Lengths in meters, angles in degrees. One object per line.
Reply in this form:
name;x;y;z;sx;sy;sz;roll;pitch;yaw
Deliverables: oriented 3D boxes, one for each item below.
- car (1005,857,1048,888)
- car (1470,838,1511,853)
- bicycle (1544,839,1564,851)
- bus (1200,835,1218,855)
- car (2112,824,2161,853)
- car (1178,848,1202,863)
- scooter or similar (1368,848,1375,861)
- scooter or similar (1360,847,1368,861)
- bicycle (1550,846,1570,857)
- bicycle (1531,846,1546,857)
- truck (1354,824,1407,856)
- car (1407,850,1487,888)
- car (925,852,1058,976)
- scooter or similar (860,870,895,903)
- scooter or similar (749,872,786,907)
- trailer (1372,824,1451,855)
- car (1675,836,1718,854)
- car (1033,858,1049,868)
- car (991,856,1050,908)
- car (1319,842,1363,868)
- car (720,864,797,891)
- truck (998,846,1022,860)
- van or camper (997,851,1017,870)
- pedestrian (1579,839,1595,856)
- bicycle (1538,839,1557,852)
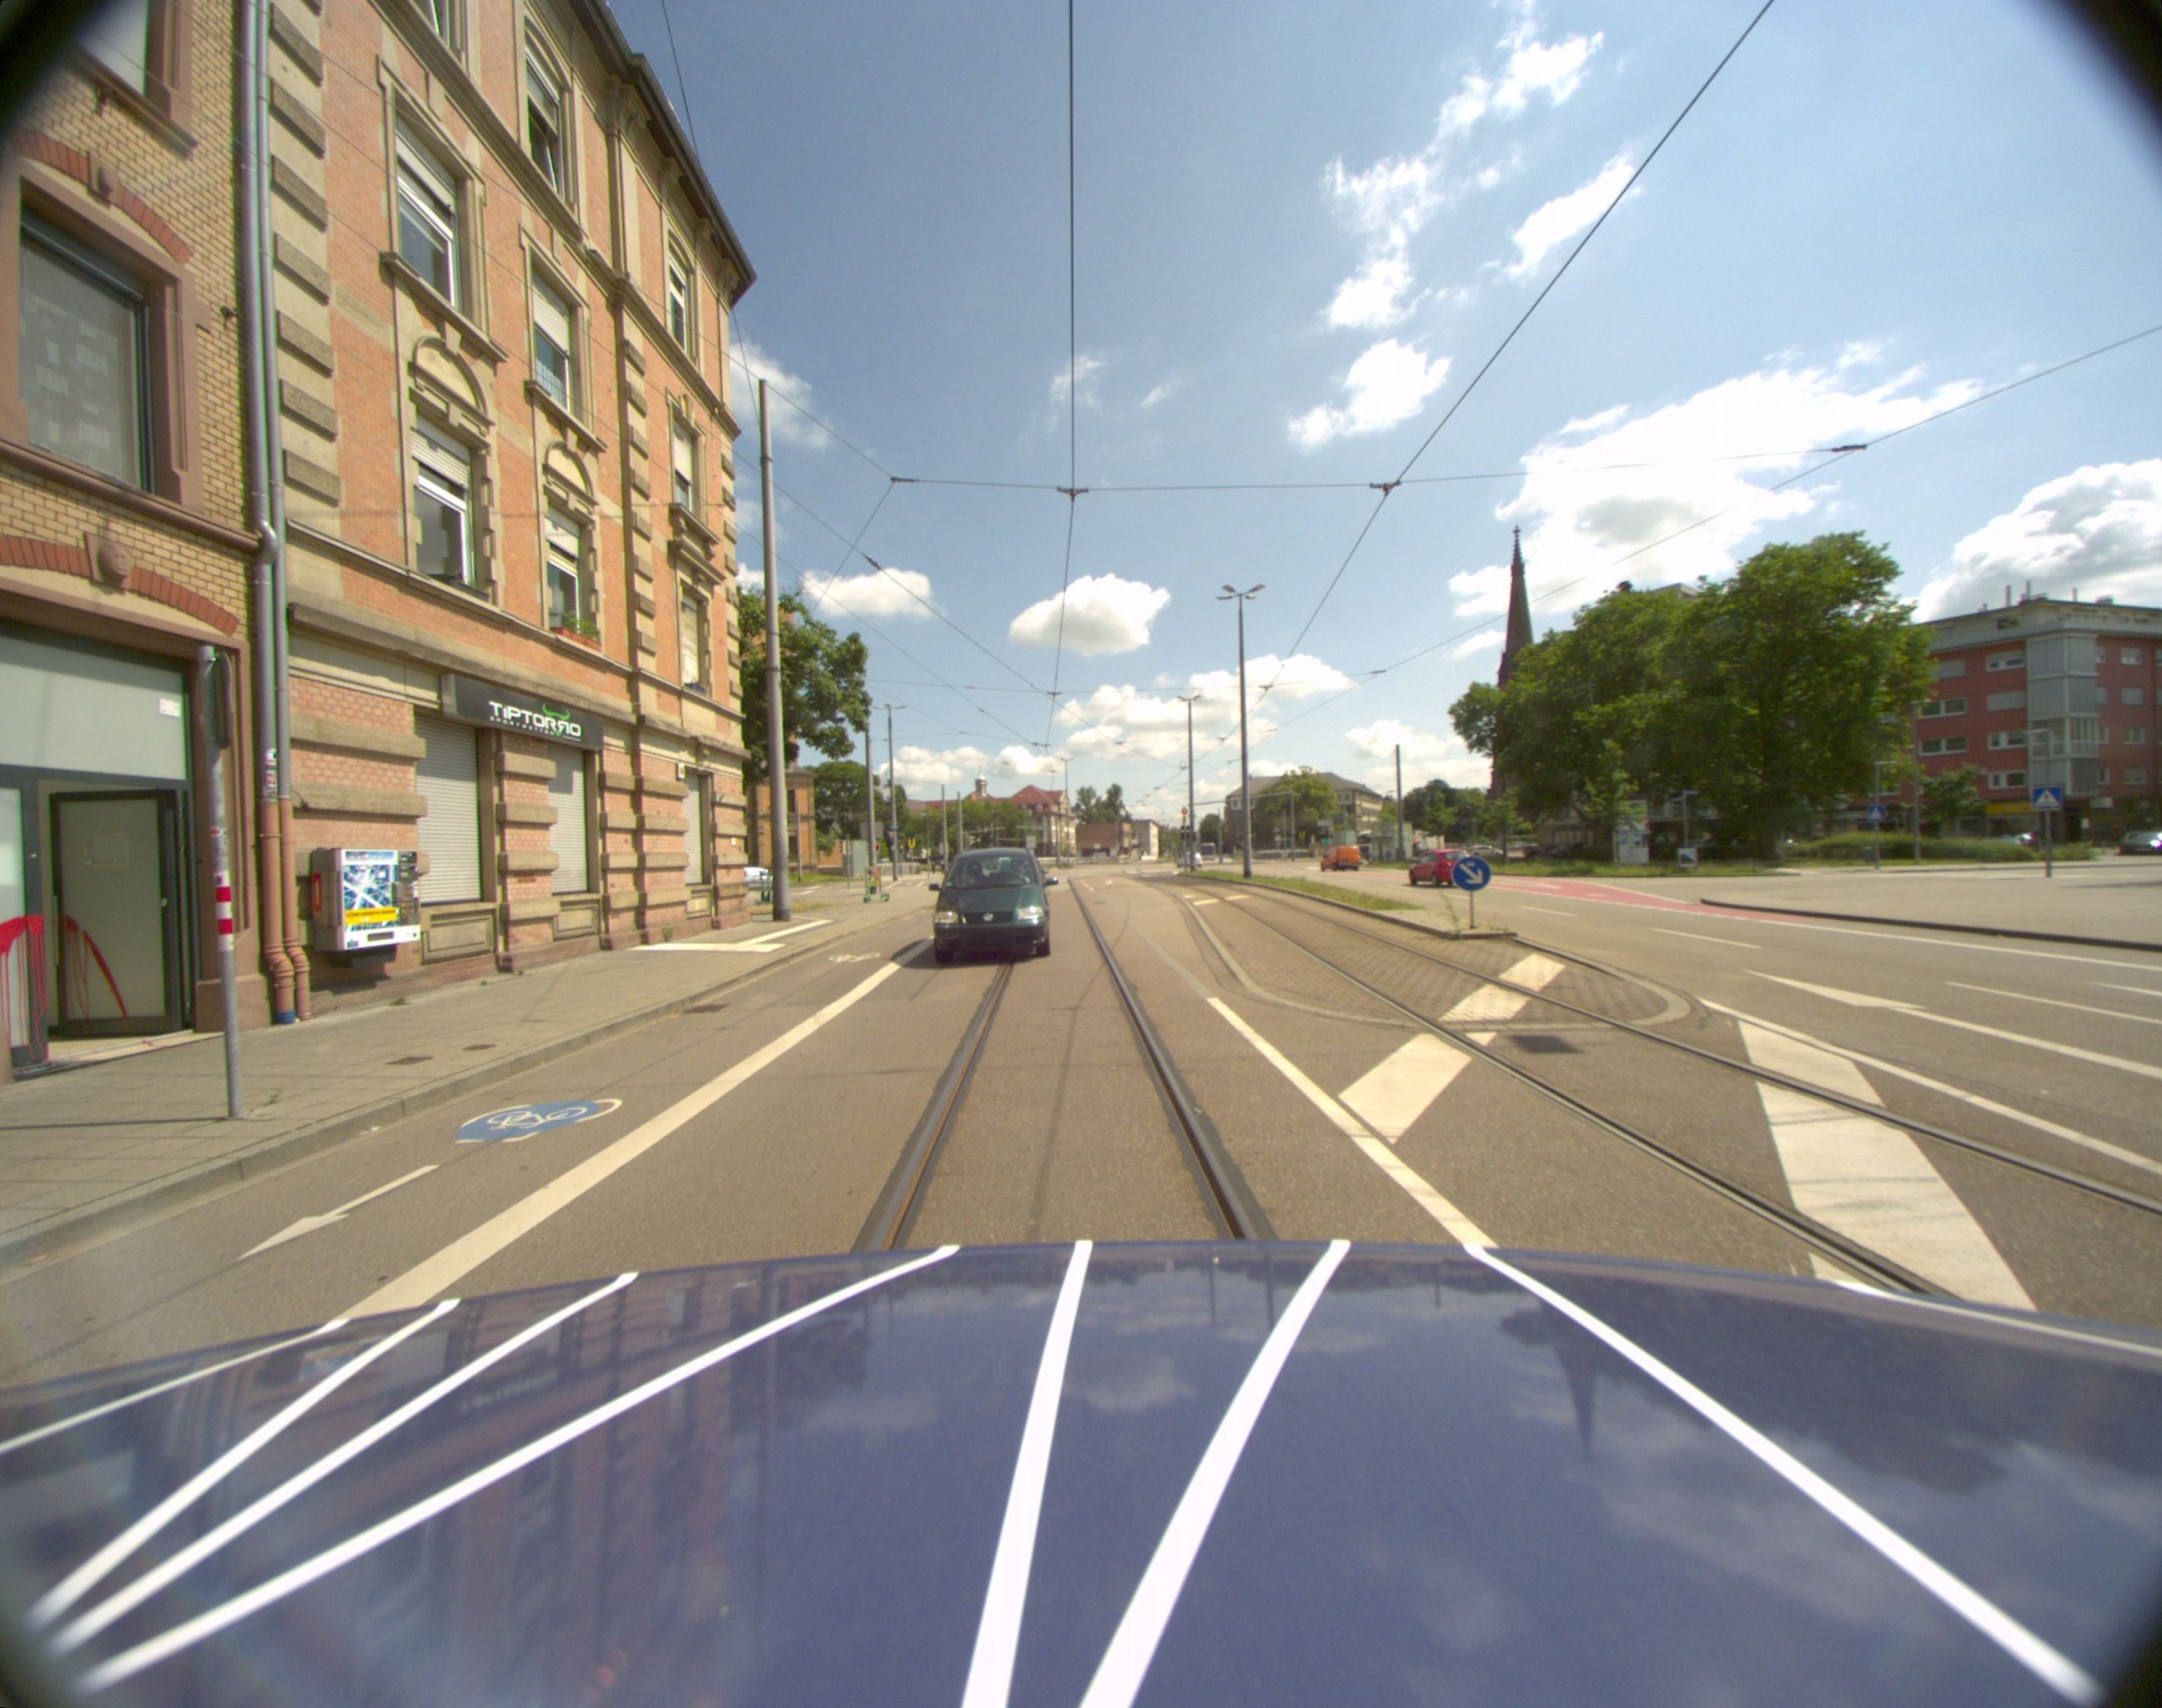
car;-2.924;0.919;39.946;1.874;1.477;4.423;-2;0;-8
car;49.798;-1.010;92.423;4.164;1.633;1.631;-2;0;17
bicycle;48.079;-0.930;77.225;0.494;1.161;1.598;-2;0;-32
bus;22.575;-1.542;134.169;2.948;3.427;7.953;-2;0;10
car;66.309;-0.991;47.522;4.007;1.696;1.995;-2;0;-34
car;11.996;0.130;83.678;1.771;1.594;4.491;-1;0;-4
scooter or similar;26.033;0.019;68.139;0.416;1.118;0.556;-2;0;-2
scooter or similar;25.320;0.022;67.903;0.462;1.193;0.549;-2;0;-2
bicycle;46.530;-0.255;73.824;0.494;1.060;1.598;-2;0;-32
bicycle;50.595;-0.255;83.986;0.460;1.139;1.270;-2;0;-36
truck;40.283;-1.932;102.125;6.889;4.095;2.956;-2;1;-32
car;14.444;0.556;30.222;1.705;1.420;3.904;0;0;7
car;-1.336;0.854;12.894;1.819;1.707;4.084;-2;0;-1
scooter or similar;-7.663;1.211;28.650;0.949;1.173;1.086;-1;1;5
scooter or similar;-11.714;1.315;28.439;0.950;1.196;1.389;-1;1;-8
trailer;46.112;-2.056;105.791;13.441;4.052;2.942;-2;1;-32
car;53.946;-0.796;66.593;3.938;1.502;1.875;-1;0;-34
car;-5.909;1.317;112.551;1.673;1.368;3.911;-2;0;-12
car;-2.147;0.942;27.873;1.873;1.607;4.425;-4;0;-3
car;19.284;0.055;56.468;1.915;1.855;4.368;-1;0;2
car;-21.898;1.555;51.747;4.435;1.578;1.869;-2;1;-40
truck;-16.362;-0.219;173.799;3.359;2.980;8.720;-2;0;-20
van or camper;-11.693;1.038;119.337;2.234;2.719;5.515;-2;0;-14
pedestrian;46.621;-0.599;70.015;0.725;1.551;0.878;-2;0;-24
bicycle;49.712;-0.915;80.978;0.494;1.257;1.598;-2;0;-32
